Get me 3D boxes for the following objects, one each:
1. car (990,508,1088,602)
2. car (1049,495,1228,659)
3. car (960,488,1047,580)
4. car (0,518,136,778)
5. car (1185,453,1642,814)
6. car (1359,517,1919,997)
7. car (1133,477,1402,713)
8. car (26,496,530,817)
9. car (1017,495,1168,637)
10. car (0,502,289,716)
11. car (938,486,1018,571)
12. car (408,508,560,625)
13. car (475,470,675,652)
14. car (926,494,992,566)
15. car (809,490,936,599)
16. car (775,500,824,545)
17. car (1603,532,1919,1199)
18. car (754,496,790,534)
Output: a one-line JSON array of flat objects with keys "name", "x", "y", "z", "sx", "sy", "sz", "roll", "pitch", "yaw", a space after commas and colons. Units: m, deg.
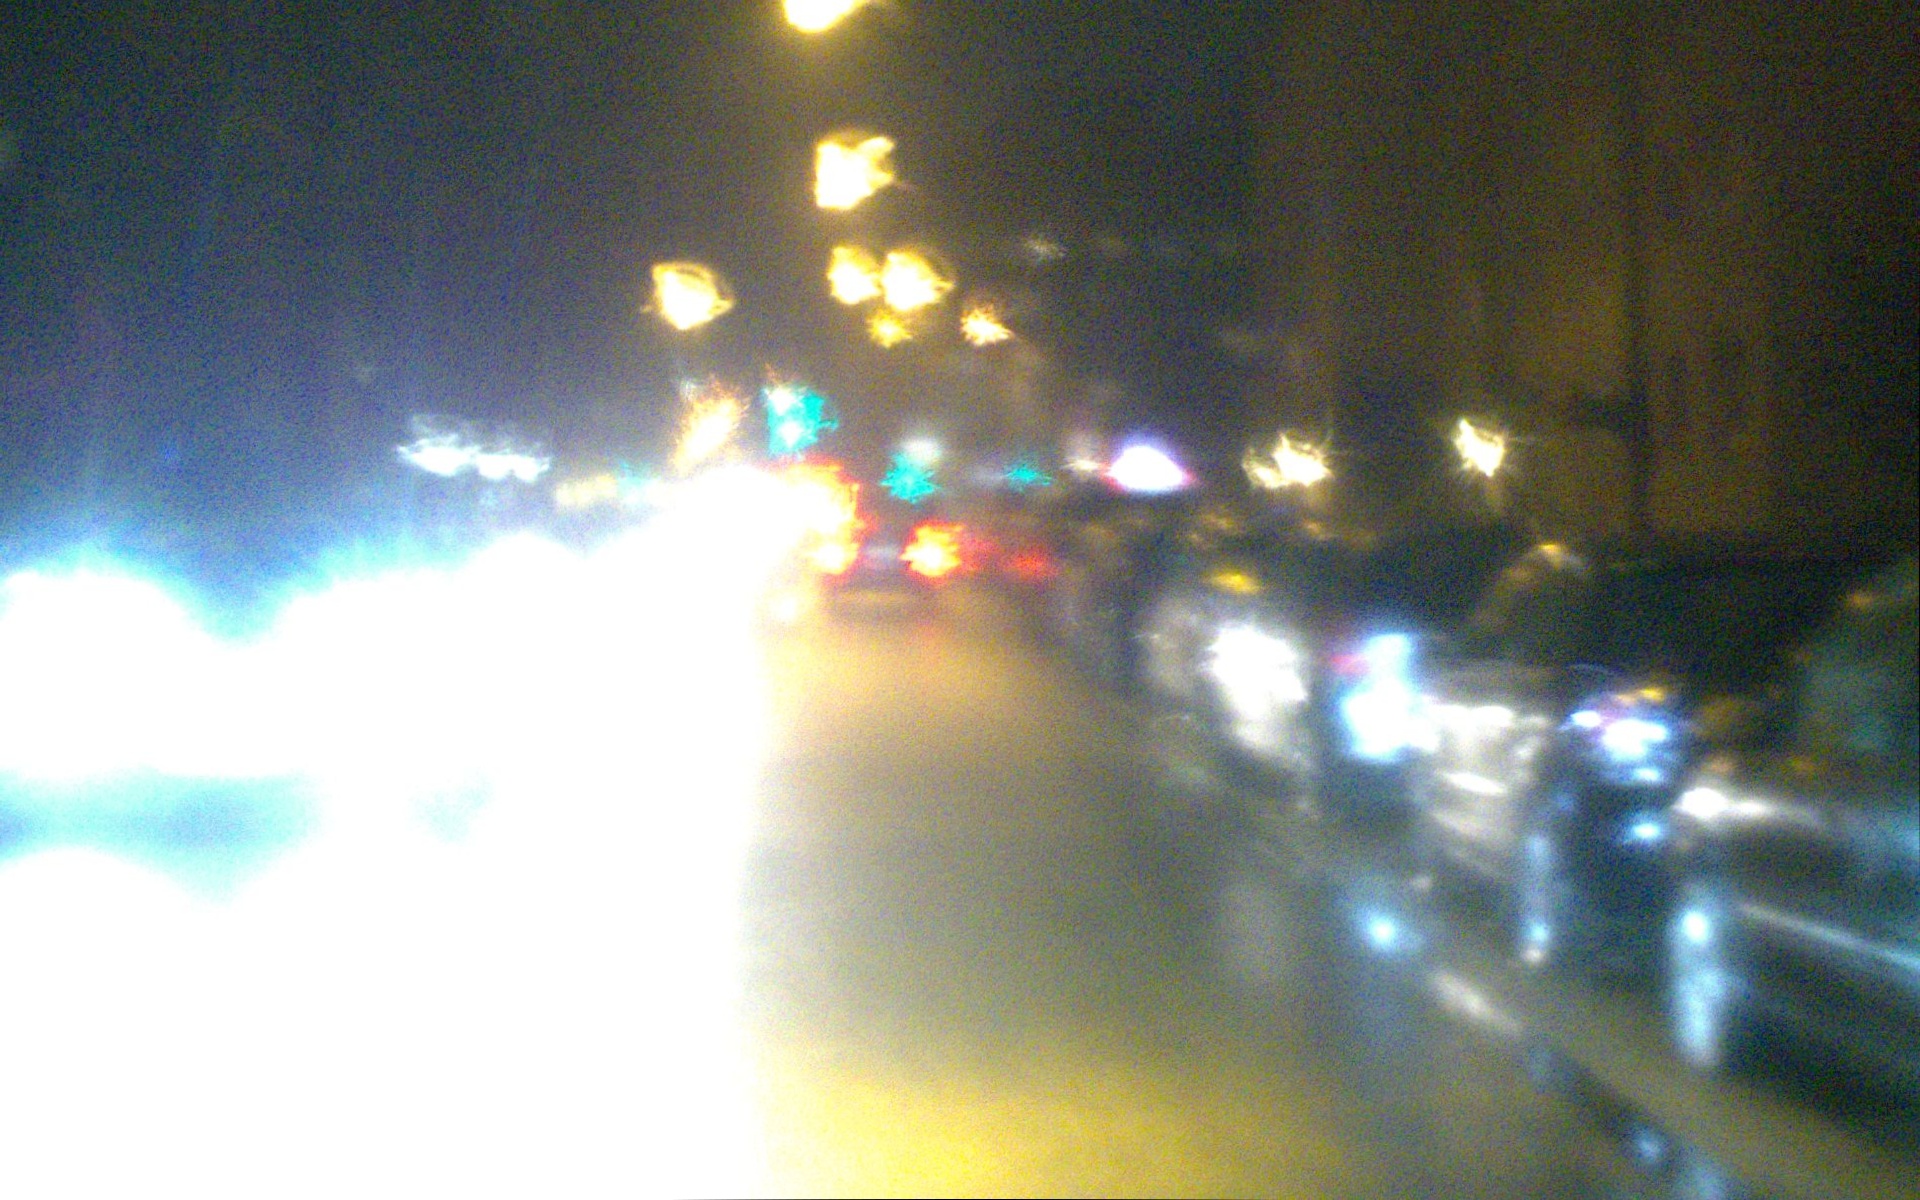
[{"name": "car", "x": 1.379, "y": -0.829, "z": 61.487, "sx": 1.535, "sy": 1.556, "sz": 3.804, "roll": -2, "pitch": 2, "yaw": -1}, {"name": "car", "x": 1.813, "y": -0.283, "z": 35.874, "sx": 1.535, "sy": 1.556, "sz": 3.804, "roll": -2, "pitch": 2, "yaw": -1}, {"name": "car", "x": 0.829, "y": -1.326, "z": 67.933, "sx": 1.535, "sy": 1.704, "sz": 3.804, "roll": -2, "pitch": 2, "yaw": -1}, {"name": "car", "x": -6.496, "y": 0.305, "z": 21.606, "sx": 1.594, "sy": 1.533, "sz": 4.000, "roll": -4, "pitch": 1, "yaw": 0}, {"name": "car", "x": 2.331, "y": 0.100, "z": 18.643, "sx": 1.820, "sy": 1.668, "sz": 4.001, "roll": -2, "pitch": 2, "yaw": -1}, {"name": "car", "x": 2.472, "y": 0.440, "z": 12.472, "sx": 1.495, "sy": 1.383, "sz": 3.748, "roll": -3, "pitch": 2, "yaw": -1}, {"name": "car", "x": 2.216, "y": -0.095, "z": 25.581, "sx": 1.535, "sy": 1.556, "sz": 3.804, "roll": -2, "pitch": 2, "yaw": -1}, {"name": "car", "x": -3.419, "y": 0.187, "z": 18.150, "sx": 1.820, "sy": 1.458, "sz": 4.866, "roll": 0, "pitch": 2, "yaw": -2}, {"name": "car", "x": 1.556, "y": -0.447, "z": 41.459, "sx": 1.535, "sy": 1.556, "sz": 3.804, "roll": -2, "pitch": 2, "yaw": -1}, {"name": "car", "x": -6.564, "y": 0.014, "z": 27.491, "sx": 1.575, "sy": 1.457, "sz": 4.001, "roll": -5, "pitch": 2, "yaw": -1}, {"name": "car", "x": 0.355, "y": -1.541, "z": 73.124, "sx": 1.535, "sy": 1.704, "sz": 3.804, "roll": -2, "pitch": 2, "yaw": -1}, {"name": "car", "x": -6.731, "y": -0.514, "z": 48.953, "sx": 1.575, "sy": 1.457, "sz": 4.001, "roll": -5, "pitch": 2, "yaw": -1}, {"name": "car", "x": -3.962, "y": -0.423, "z": 35.913, "sx": 1.689, "sy": 1.779, "sz": 4.000, "roll": -1, "pitch": 1, "yaw": -1}, {"name": "car", "x": -0.039, "y": -1.797, "z": 86.904, "sx": 1.535, "sy": 1.704, "sz": 3.804, "roll": -2, "pitch": 2, "yaw": -1}, {"name": "car", "x": -1.417, "y": -0.944, "z": 56.581, "sx": 1.993, "sy": 1.678, "sz": 4.001, "roll": -1, "pitch": 2, "yaw": -1}, {"name": "car", "x": -6.470, "y": -3.157, "z": 138.719, "sx": 1.812, "sy": 1.704, "sz": 3.804, "roll": -2, "pitch": 2, "yaw": -1}, {"name": "car", "x": 2.726, "y": 0.549, "z": 8.054, "sx": 1.603, "sy": 1.383, "sz": 3.793, "roll": -3, "pitch": 1, "yaw": -1}, {"name": "car", "x": -8.915, "y": -4.036, "z": 163.197, "sx": 1.535, "sy": 1.704, "sz": 3.804, "roll": -2, "pitch": 2, "yaw": -1}]
